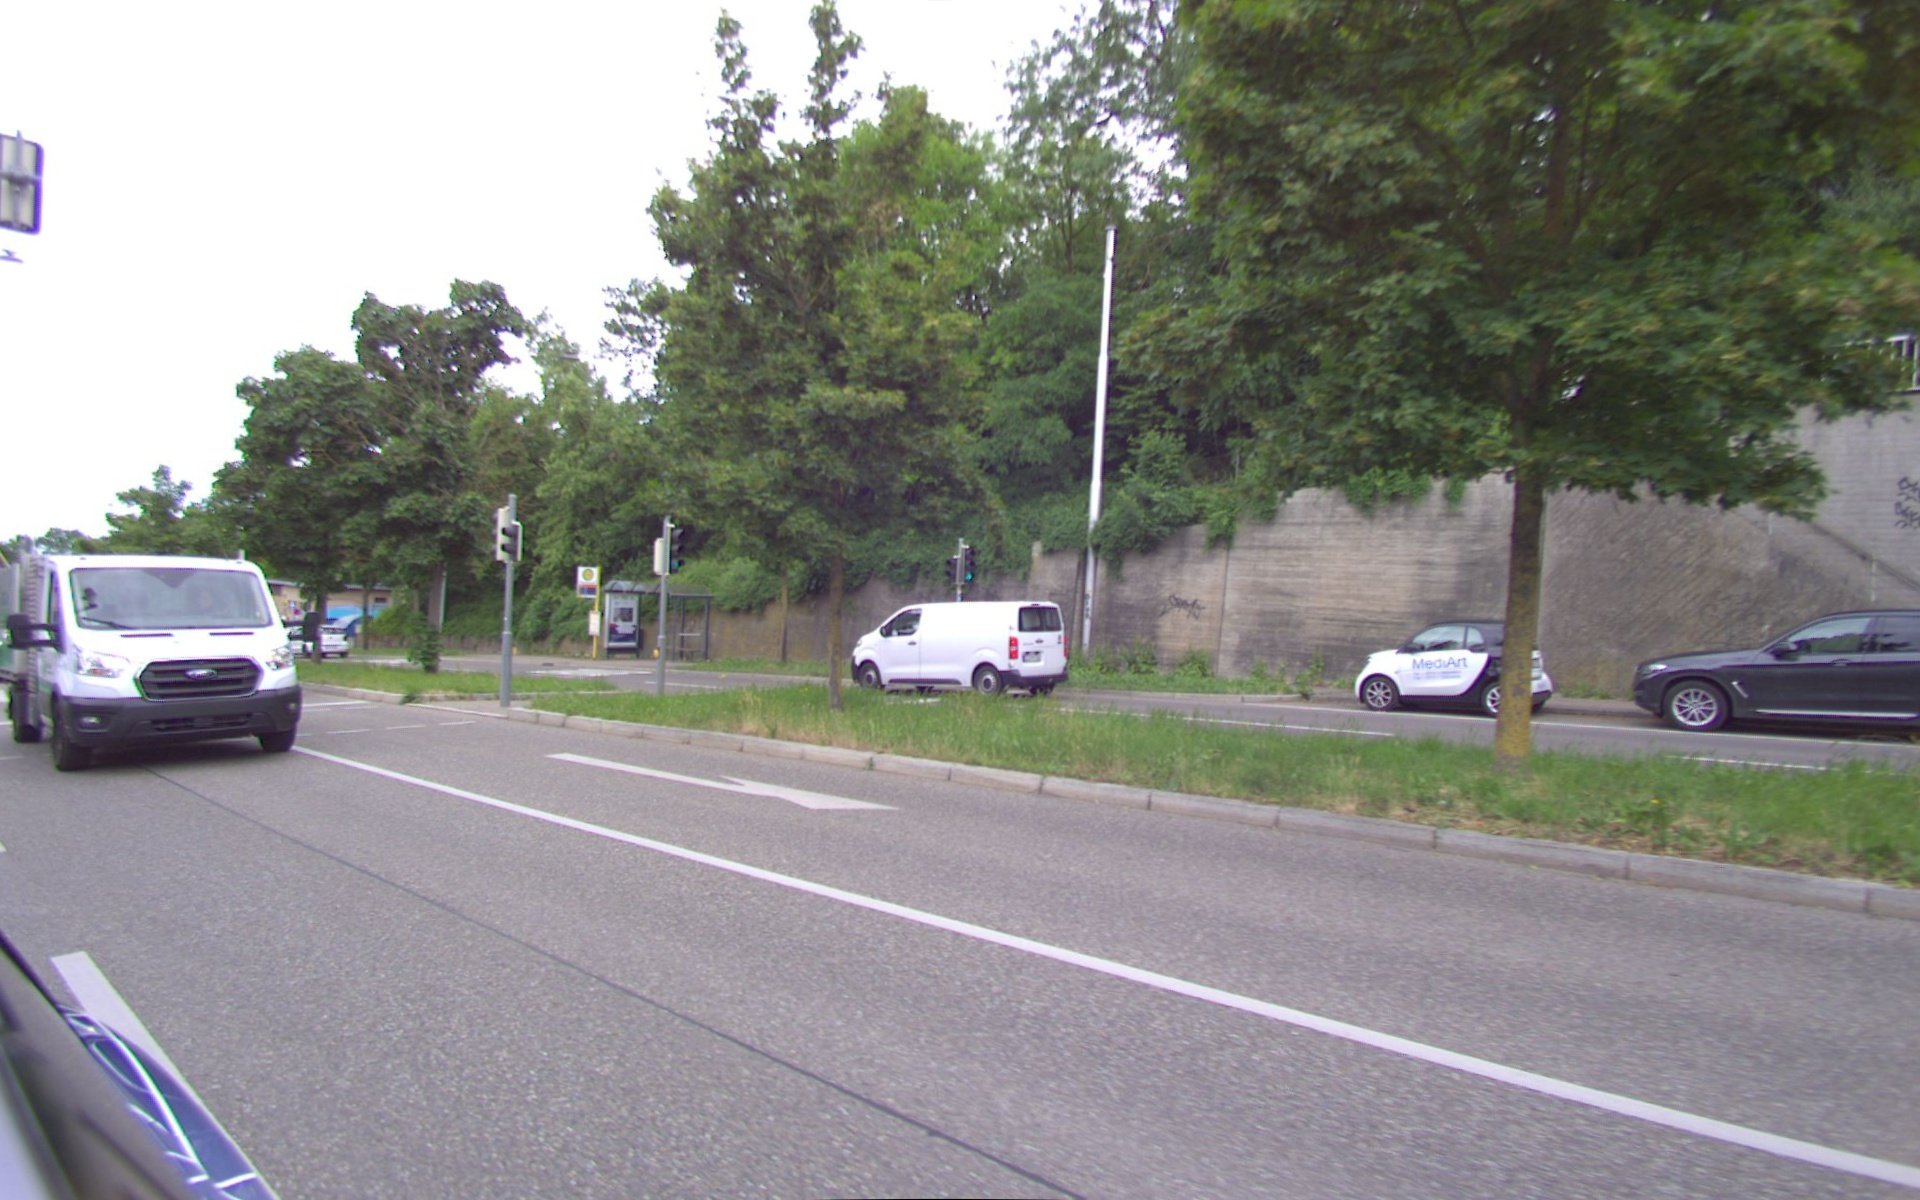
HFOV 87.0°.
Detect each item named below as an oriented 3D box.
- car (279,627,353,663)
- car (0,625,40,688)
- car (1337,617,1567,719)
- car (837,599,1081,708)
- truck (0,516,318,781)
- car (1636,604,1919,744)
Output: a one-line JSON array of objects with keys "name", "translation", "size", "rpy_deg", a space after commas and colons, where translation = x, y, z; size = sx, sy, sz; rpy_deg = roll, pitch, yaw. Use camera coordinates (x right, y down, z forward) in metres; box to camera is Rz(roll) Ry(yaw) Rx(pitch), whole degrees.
[{"name": "car", "translation": [-28.452, 1.963, 44.669], "size": [3.787, 1.439, 1.711], "rpy_deg": [-1, -1, 40]}, {"name": "car", "translation": [-24.891, 1.425, 25.677], "size": [4.399, 1.492, 1.890], "rpy_deg": [-2, -2, 42]}, {"name": "car", "translation": [8.188, 1.079, 16.924], "size": [3.096, 1.510, 1.761], "rpy_deg": [-2, -2, 41]}, {"name": "car", "translation": [-0.150, 1.018, 20.709], "size": [5.021, 1.973, 1.917], "rpy_deg": [-2, -2, 42]}, {"name": "truck", "translation": [-9.713, 0.480, 11.834], "size": [6.330, 2.339, 2.053], "rpy_deg": [-1, -2, 42]}, {"name": "car", "translation": [11.762, 0.903, 13.250], "size": [1.946, 1.669, 4.535], "rpy_deg": [0, -1, -44]}]
